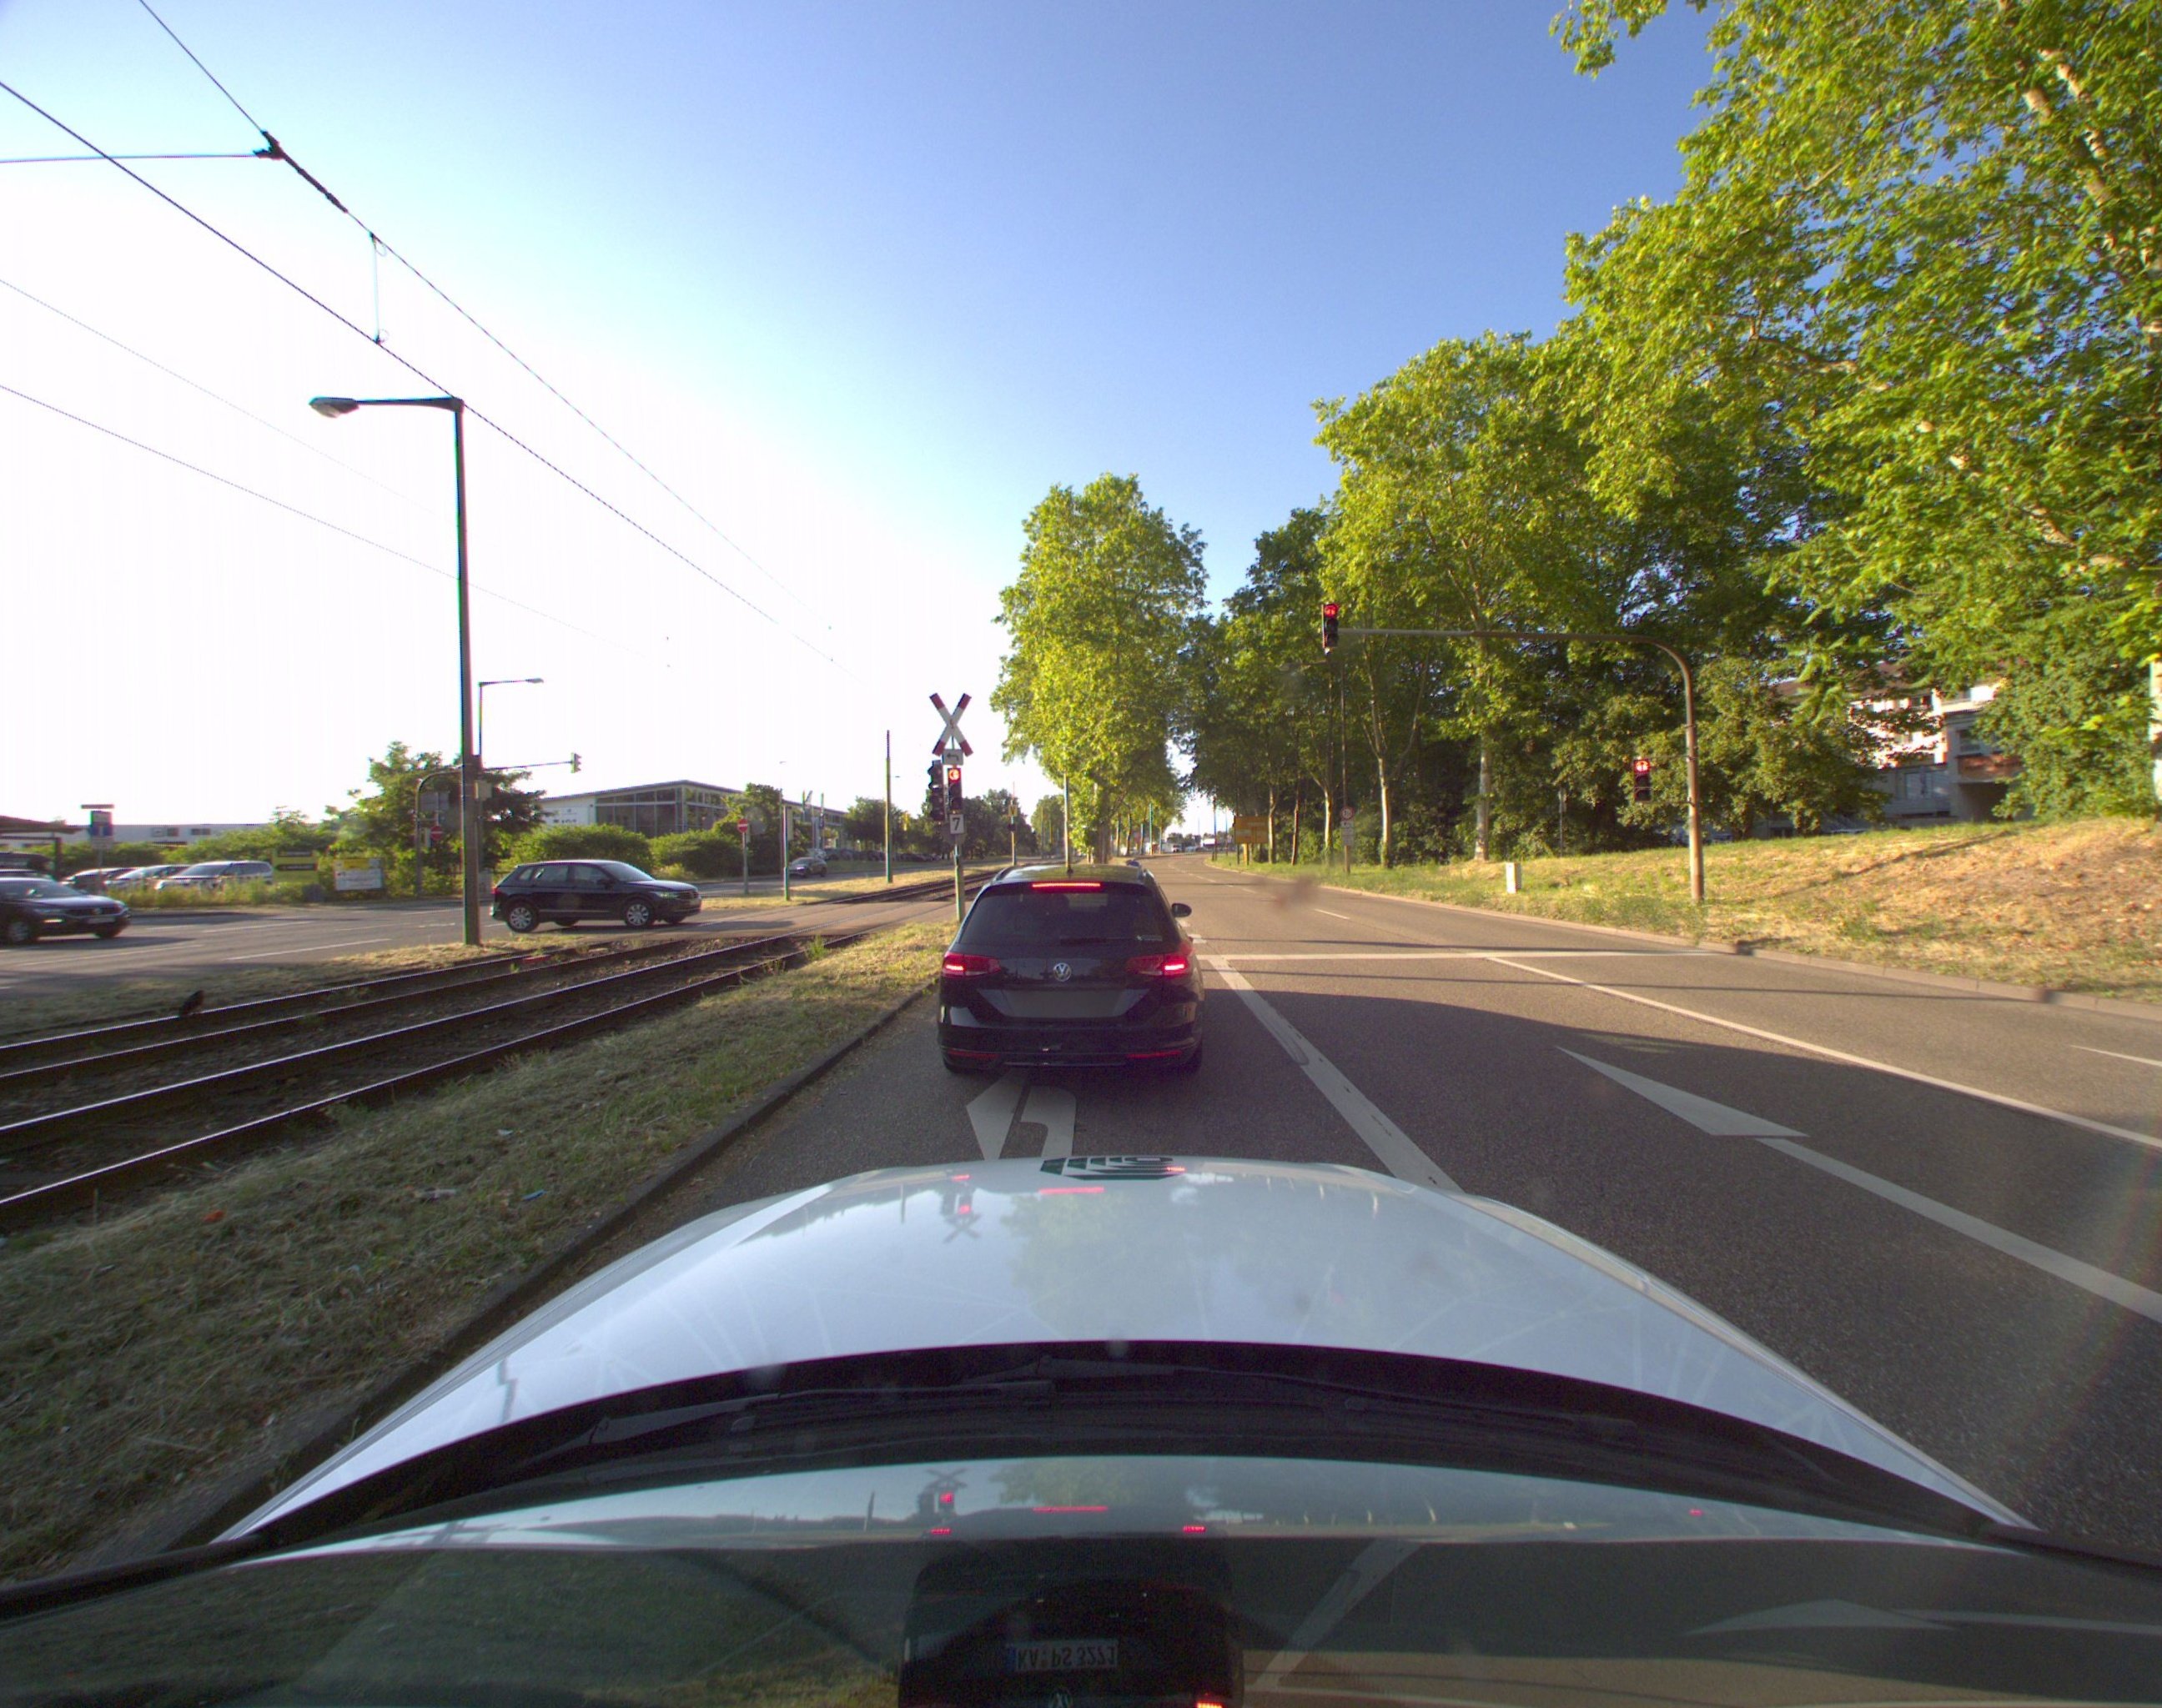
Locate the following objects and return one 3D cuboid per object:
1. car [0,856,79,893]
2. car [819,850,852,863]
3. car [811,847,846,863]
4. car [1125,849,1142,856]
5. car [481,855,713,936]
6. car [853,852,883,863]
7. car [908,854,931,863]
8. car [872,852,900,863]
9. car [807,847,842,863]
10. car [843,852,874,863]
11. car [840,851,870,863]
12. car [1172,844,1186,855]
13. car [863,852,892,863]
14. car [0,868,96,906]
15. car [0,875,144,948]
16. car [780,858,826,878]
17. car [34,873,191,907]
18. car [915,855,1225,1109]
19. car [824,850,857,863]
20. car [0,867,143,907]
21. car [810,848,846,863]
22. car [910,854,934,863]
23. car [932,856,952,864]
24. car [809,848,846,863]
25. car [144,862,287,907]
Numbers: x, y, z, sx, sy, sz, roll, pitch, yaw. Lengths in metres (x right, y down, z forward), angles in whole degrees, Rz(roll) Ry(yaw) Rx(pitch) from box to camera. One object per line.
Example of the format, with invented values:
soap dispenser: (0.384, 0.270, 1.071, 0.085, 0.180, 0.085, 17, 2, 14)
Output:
car: (-60.423, 1.147, 45.901, 1.855, 2.014, 4.773, 0, 0, 2)
car: (-31.155, 0.291, 103.415, 3.999, 1.556, 1.732, -1, 0, -19)
car: (-30.607, 0.119, 98.735, 3.999, 1.816, 1.732, -1, 0, -19)
car: (10.128, -0.298, 158.114, 1.845, 1.481, 4.115, 0, 0, 26)
car: (-11.435, 0.949, 19.463, 4.341, 1.635, 1.878, -2, 0, 0)
car: (-31.010, 0.509, 118.823, 3.980, 1.556, 1.741, -1, 0, -5)
car: (-29.111, 0.853, 146.837, 3.978, 1.621, 1.742, -1, 0, -3)
car: (-30.124, 0.578, 125.945, 3.978, 1.621, 1.742, -1, 0, -3)
car: (-31.649, 0.121, 100.516, 3.999, 1.816, 1.732, -1, 0, -19)
car: (-31.442, 0.464, 115.311, 3.983, 1.556, 1.739, -1, 0, -7)
car: (-31.233, 0.427, 112.604, 3.999, 1.556, 1.732, -1, 0, -19)
car: (23.139, -1.128, 192.105, 2.078, 2.461, 5.881, 0, 0, 19)
car: (-30.613, 0.534, 122.744, 3.978, 1.621, 1.742, -1, 0, -3)
car: (-47.161, 1.448, 36.042, 1.970, 1.583, 4.174, 0, 0, 2)
car: (-25.447, 1.371, 19.458, 4.137, 1.561, 1.713, -2, 0, 1)
car: (-22.469, 1.098, 65.947, 1.852, 1.481, 4.179, 0, 0, 6)
car: (-42.472, 1.559, 35.886, 1.855, 1.267, 4.174, 0, 0, 2)
car: (-0.018, 0.746, 6.522, 1.788, 1.464, 3.584, 0, 0, 1)
car: (-31.370, 0.335, 106.206, 3.999, 1.556, 1.732, -1, 0, -19)
car: (-44.712, 1.400, 35.889, 1.855, 1.583, 4.174, 0, 0, 2)
car: (-29.955, 0.155, 96.381, 3.999, 1.704, 1.732, -1, 0, -19)
car: (-29.263, 0.897, 150.006, 3.978, 1.621, 1.742, -1, 0, -3)
car: (-28.818, 1.168, 168.918, 3.977, 1.556, 1.742, -1, 0, -2)
car: (-29.265, 0.137, 94.112, 3.999, 1.704, 1.732, -1, 0, -19)
car: (-38.525, 1.319, 36.408, 1.855, 1.821, 4.174, 0, 0, 2)
